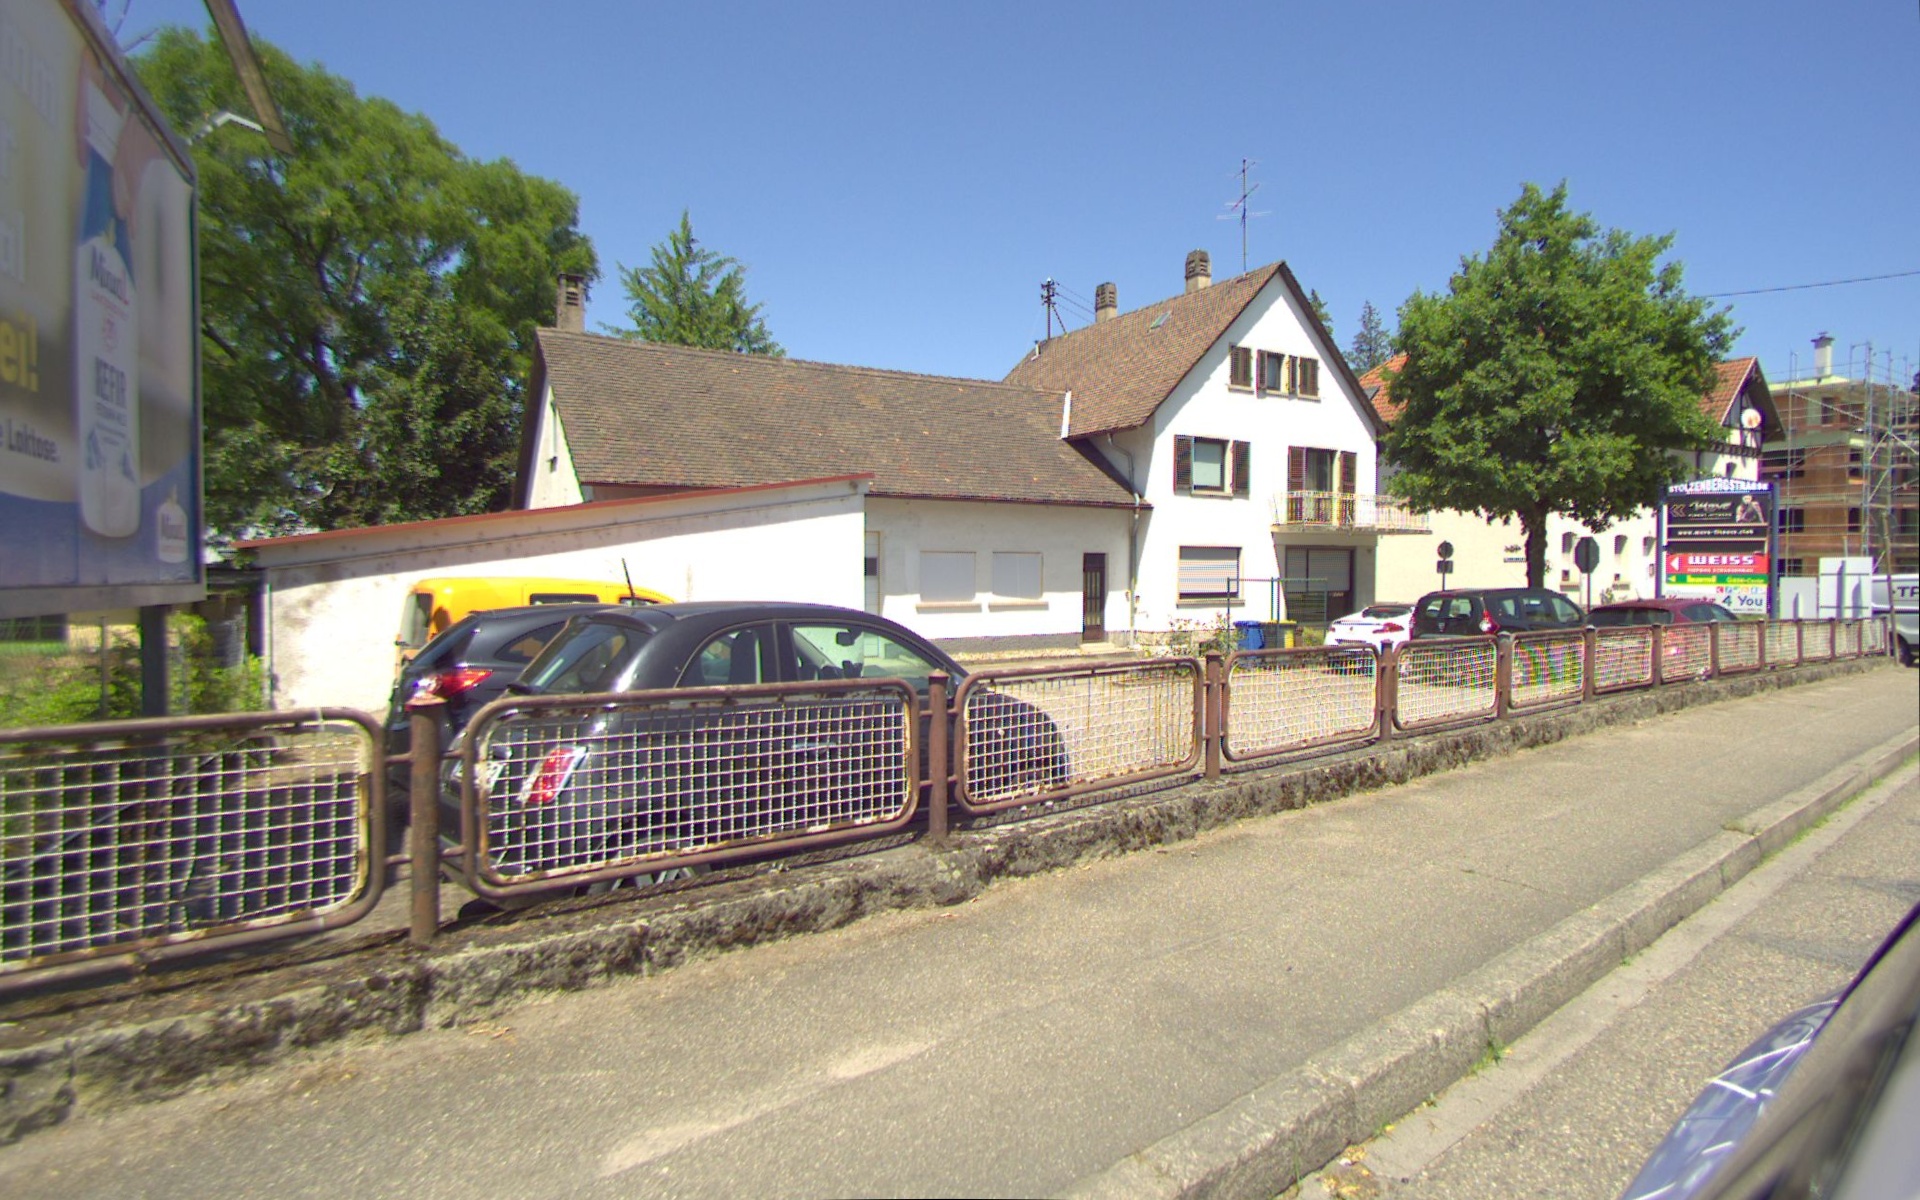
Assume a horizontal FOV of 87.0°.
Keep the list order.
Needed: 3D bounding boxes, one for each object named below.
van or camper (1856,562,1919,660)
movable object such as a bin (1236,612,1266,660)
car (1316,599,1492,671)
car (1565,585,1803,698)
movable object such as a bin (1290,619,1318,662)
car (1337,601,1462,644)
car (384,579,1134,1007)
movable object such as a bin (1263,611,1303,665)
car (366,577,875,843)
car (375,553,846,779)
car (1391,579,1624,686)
[{"bbox_3d":[20.836,0.193,19.534,1.961,2.003,5.366,-3,0,-4],"label":"van or camper"},{"bbox_3d":[6.145,0.755,21.401,0.408,0.981,0.453,-1,1,-31],"label":"movable object such as a bin"},{"bbox_3d":[8.978,0.641,20.414,3.319,1.286,1.718,-1,1,-33],"label":"car"},{"bbox_3d":[11.420,0.560,15.918,3.764,1.542,1.719,-1,2,-32],"label":"car"},{"bbox_3d":[7.189,0.839,21.169,0.378,0.865,0.398,-1,1,-31],"label":"movable object such as a bin"},{"bbox_3d":[16.095,0.802,37.256,1.780,1.462,3.899,0,-1,-31],"label":"car"},{"bbox_3d":[-0.862,0.682,5.308,3.495,1.478,1.633,-1,-2,-42],"label":"car"},{"bbox_3d":[6.648,0.775,20.825,0.627,1.060,0.492,-1,1,-31],"label":"movable object such as a bin"},{"bbox_3d":[-2.503,0.634,7.687,3.329,1.562,1.636,-1,1,-35],"label":"car"},{"bbox_3d":[-3.374,0.534,10.175,4.092,1.823,1.777,-1,-2,-40],"label":"car"},{"bbox_3d":[9.825,0.501,18.061,4.372,1.686,1.718,-1,0,-32],"label":"car"}]
